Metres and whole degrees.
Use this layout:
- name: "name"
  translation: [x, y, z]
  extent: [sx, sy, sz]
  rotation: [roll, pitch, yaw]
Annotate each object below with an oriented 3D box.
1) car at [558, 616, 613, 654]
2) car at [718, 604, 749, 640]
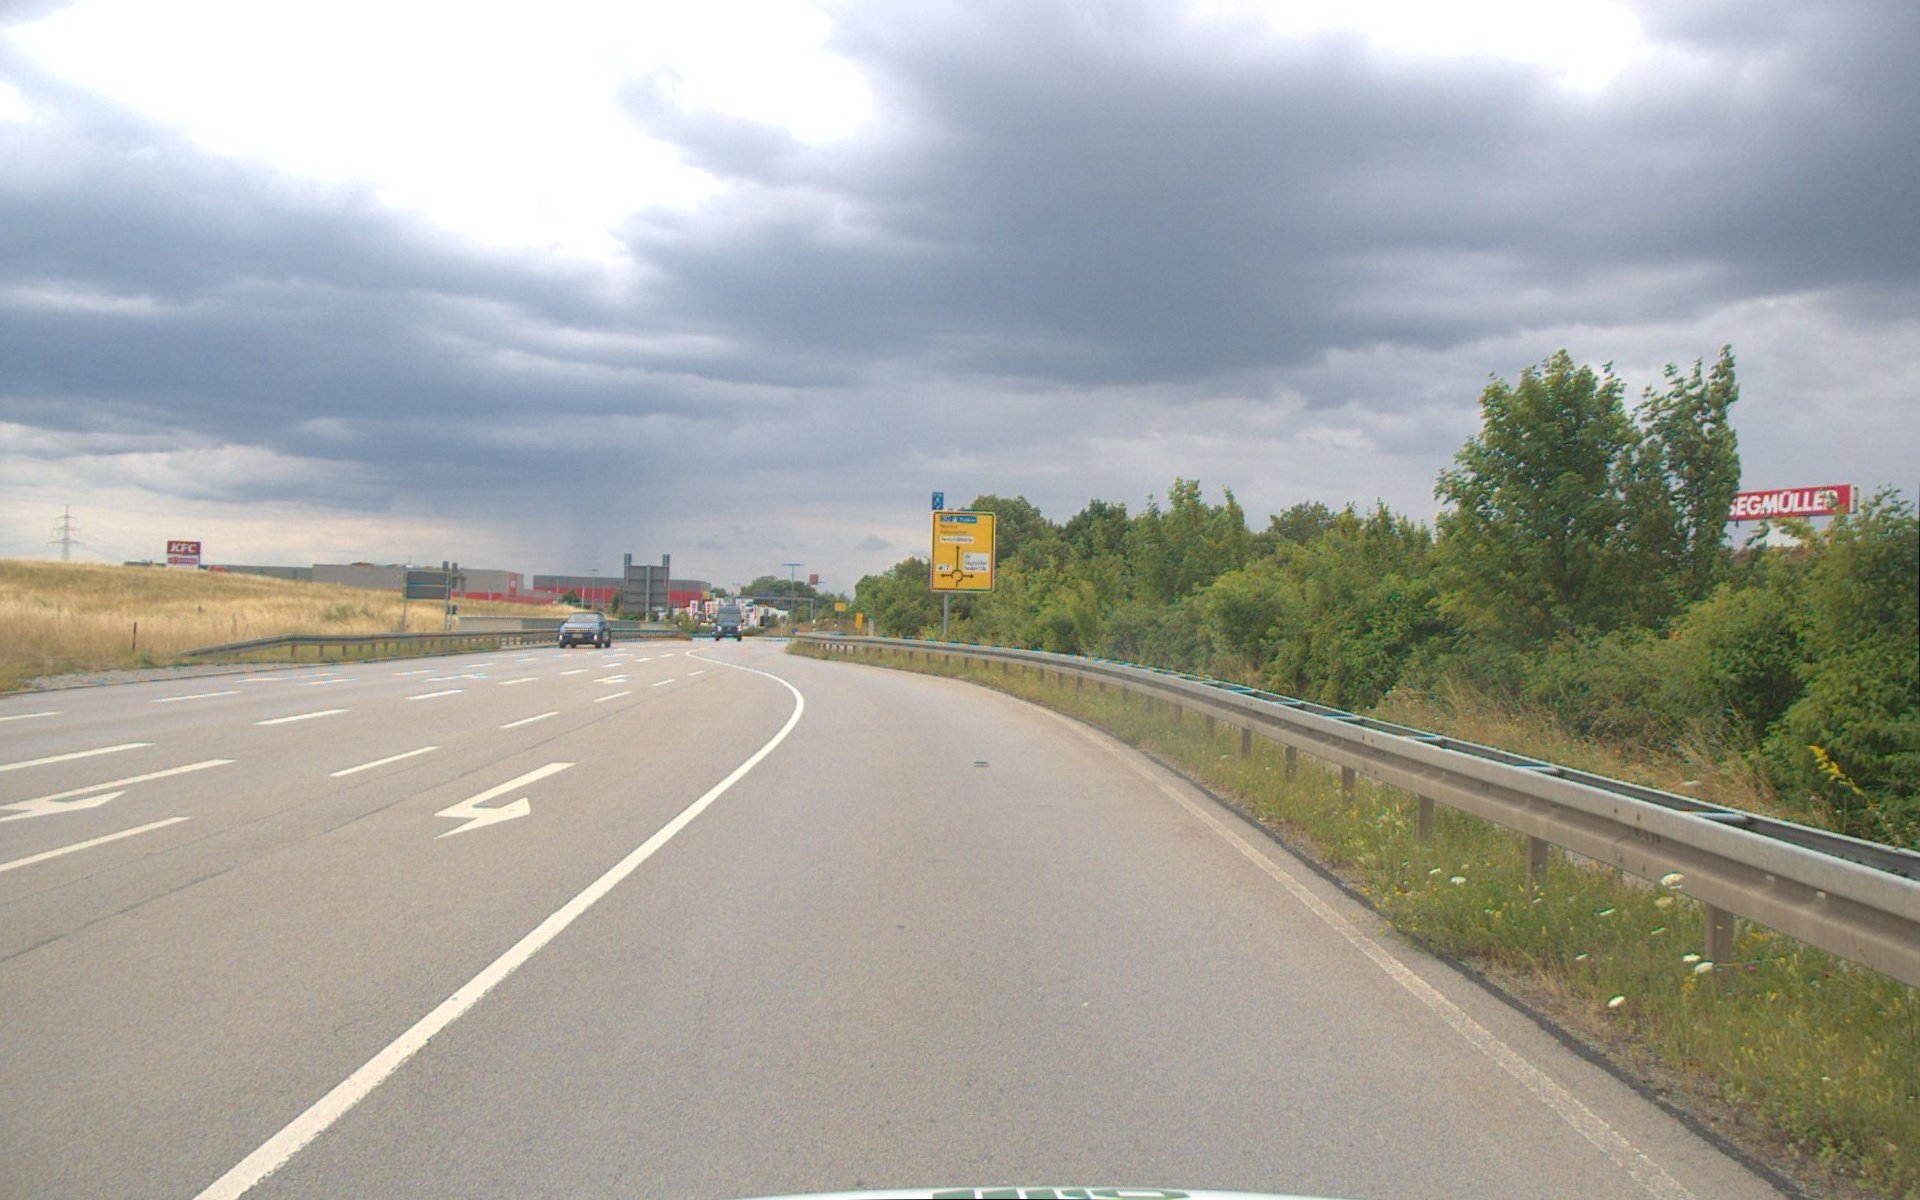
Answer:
- name: "car"
  translation: [-16.394, 1.511, 72.504]
  extent: [1.762, 1.578, 3.996]
  rotation: [1, -1, -4]
- name: "car"
  translation: [-17.427, 1.713, 127.294]
  extent: [1.954, 2.638, 5.998]
  rotation: [1, -1, -4]
